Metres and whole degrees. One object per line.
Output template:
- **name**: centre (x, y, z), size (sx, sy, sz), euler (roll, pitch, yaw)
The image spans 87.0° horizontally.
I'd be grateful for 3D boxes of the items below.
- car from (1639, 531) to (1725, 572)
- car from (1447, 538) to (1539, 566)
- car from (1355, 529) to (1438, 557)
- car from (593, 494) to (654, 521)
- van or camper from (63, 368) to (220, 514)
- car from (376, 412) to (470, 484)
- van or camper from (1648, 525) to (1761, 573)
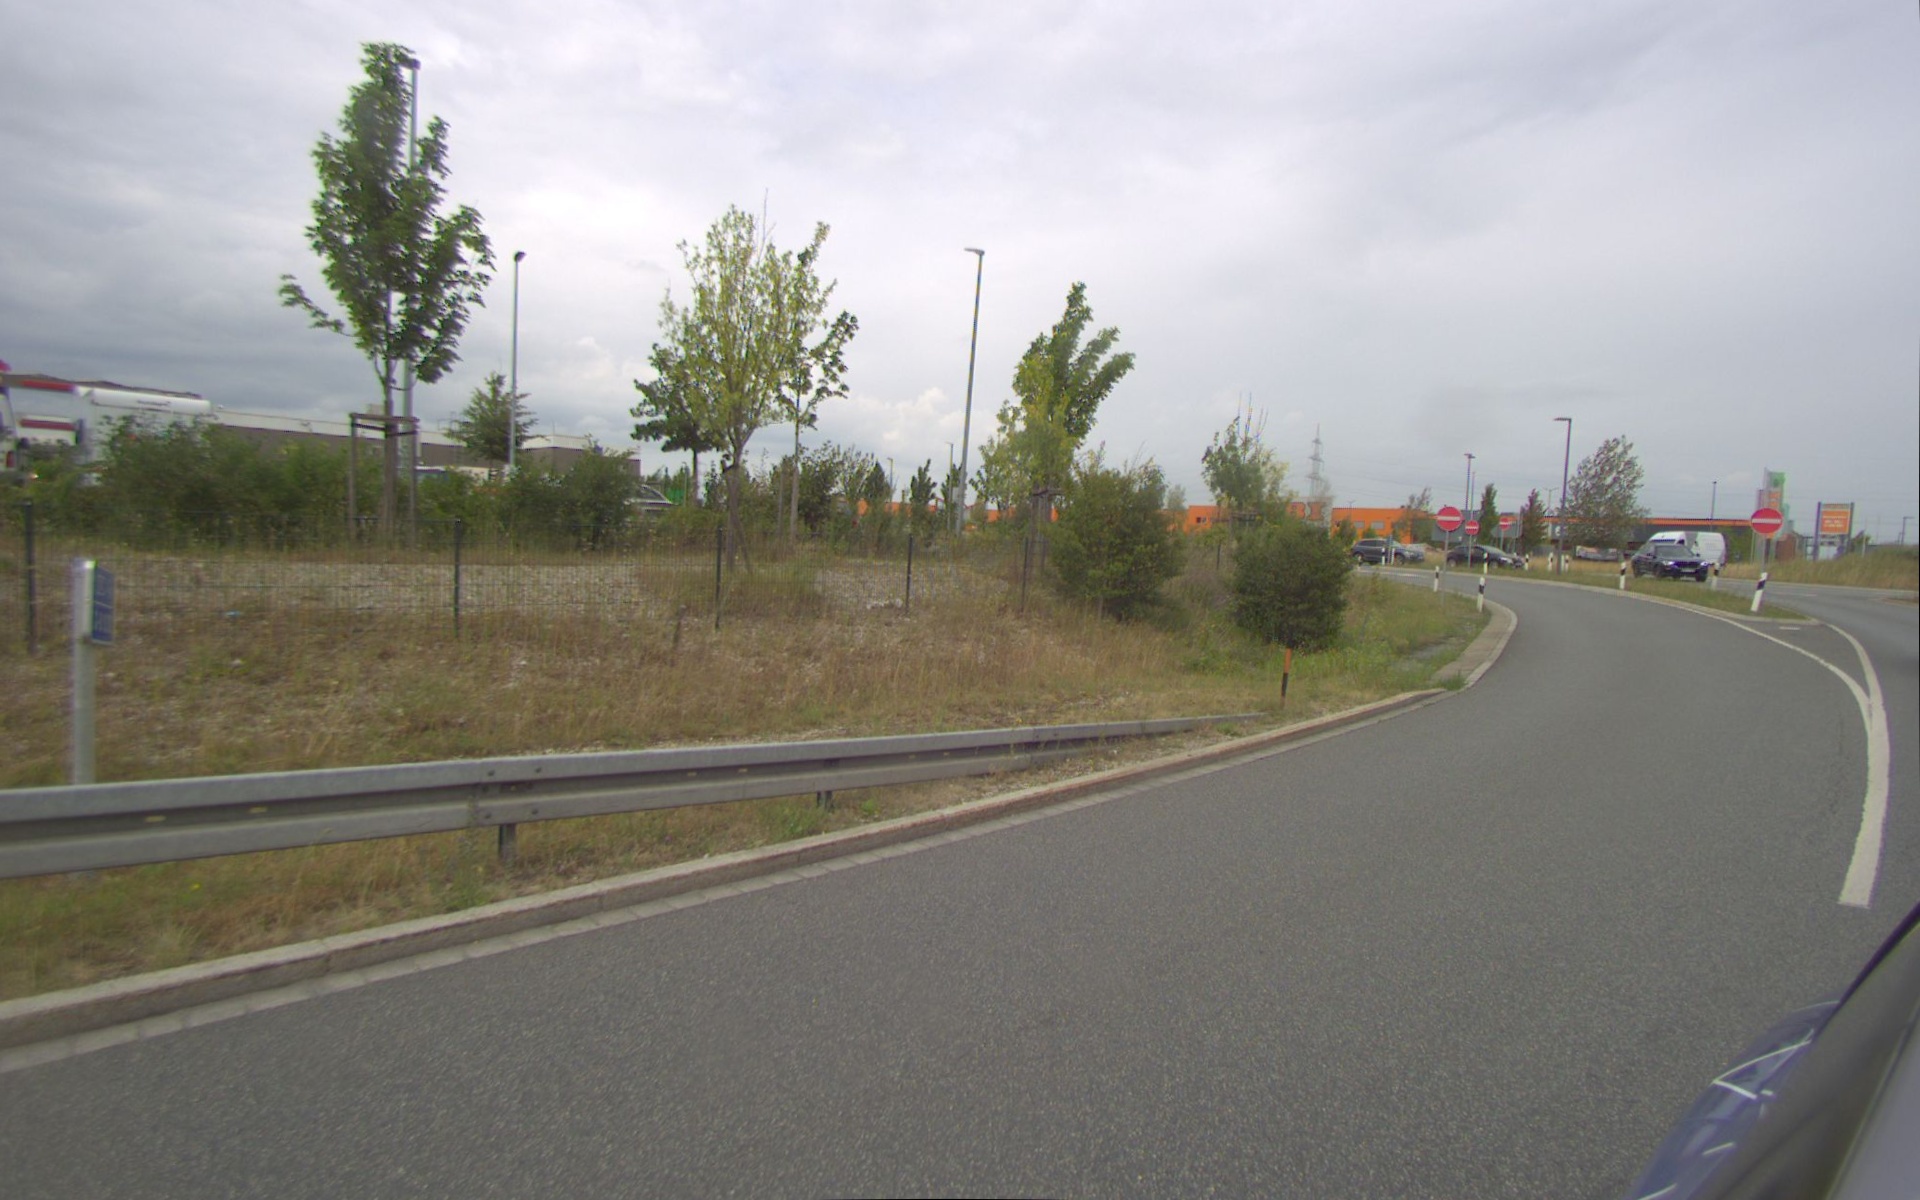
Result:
- **car**: centre (32.801, -2.155, 46.121), size (1.817, 1.741, 3.983), euler (1, 1, 14)
- **car**: centre (29.094, -2.623, 55.391), size (1.806, 1.386, 4.155), euler (-1, 4, -25)
- **car**: centre (26.811, -3.498, 62.262), size (1.849, 1.601, 4.277), euler (-2, 5, -36)
- **car**: centre (-19.161, -5.259, 57.579), size (3.989, 1.448, 1.644), euler (5, 5, 44)
- **van or camper**: centre (-21.904, -4.060, 26.893), size (2.452, 3.216, 7.722), euler (0, 5, -45)
- **car**: centre (-16.555, -4.600, 31.122), size (1.748, 1.742, 4.058), euler (0, 3, -40)
- **van or camper**: centre (44.271, -2.996, 60.196), size (5.917, 2.682, 2.341), euler (0, 3, -19)
